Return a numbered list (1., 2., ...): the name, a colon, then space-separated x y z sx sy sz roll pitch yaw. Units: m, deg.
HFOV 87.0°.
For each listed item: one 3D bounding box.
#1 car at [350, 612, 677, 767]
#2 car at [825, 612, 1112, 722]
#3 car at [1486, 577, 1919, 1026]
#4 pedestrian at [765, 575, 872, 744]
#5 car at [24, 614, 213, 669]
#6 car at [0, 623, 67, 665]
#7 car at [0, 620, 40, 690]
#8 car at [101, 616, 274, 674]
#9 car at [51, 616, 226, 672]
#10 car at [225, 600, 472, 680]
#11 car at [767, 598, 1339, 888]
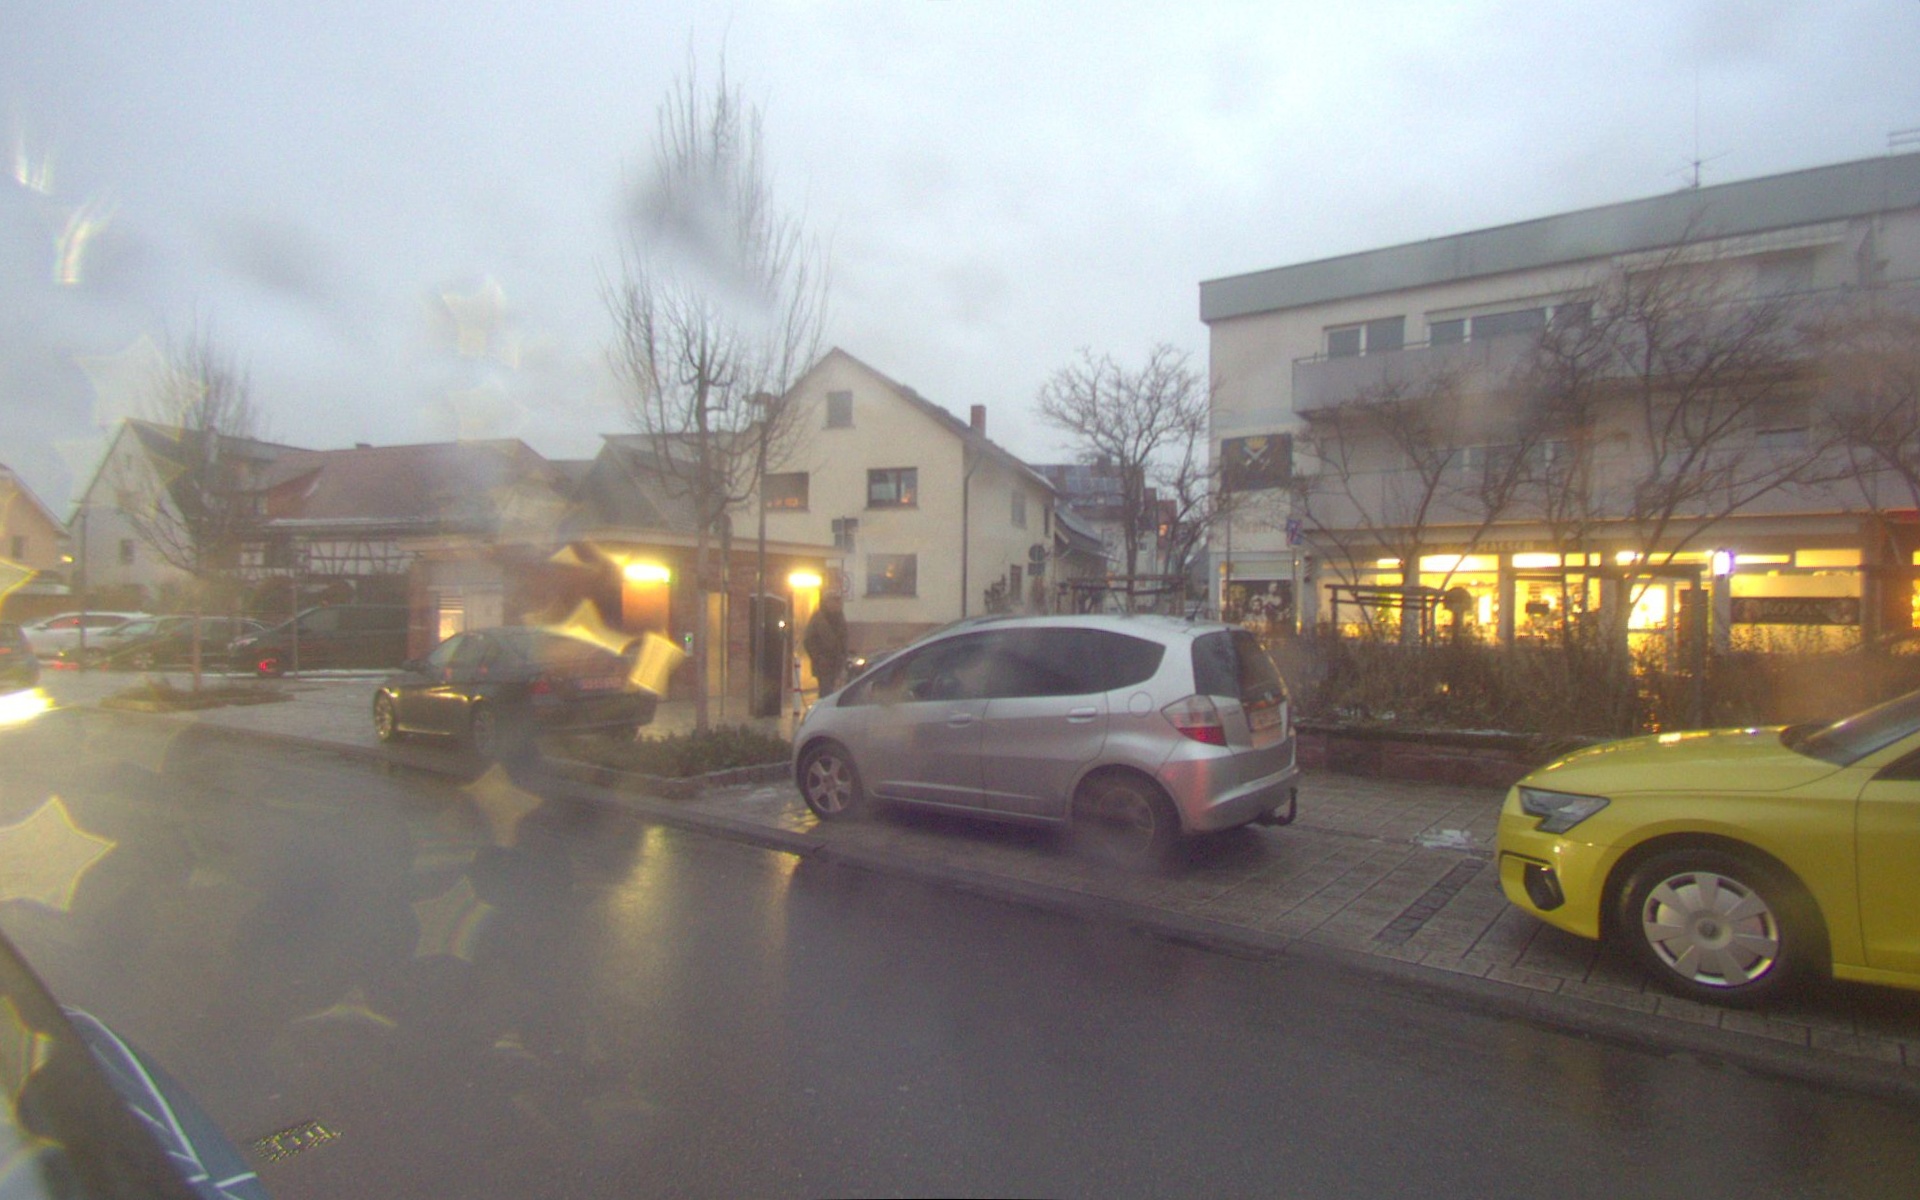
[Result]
1. car: -5.421 0.919 12.001 4.454 1.483 1.729 -1 0 39
2. car: 0.149 0.982 15.395 4.018 1.488 1.745 1 -3 -26
3. car: 4.458 0.664 3.546 4.341 1.527 1.730 -1 0 42
4. pedestrian: -1.669 0.677 11.932 1.060 1.881 0.746 -1 -2 41
5. car: -27.240 1.296 32.899 4.583 1.666 1.991 1 -2 -41
6. car: -33.944 1.528 35.330 1.758 1.470 4.015 -1 -2 44
7. car: -23.047 1.253 23.171 3.658 1.547 1.822 -1 -1 28
8. car: -22.549 1.267 29.717 3.934 1.541 2.004 0 -1 -37
9. car: -25.122 1.337 31.063 4.049 1.594 1.723 2 -3 -41
10. car: -15.801 1.051 26.368 5.307 1.900 2.079 2 -3 -34
11. car: 0.519 0.789 7.232 3.768 1.528 1.676 -1 0 38
